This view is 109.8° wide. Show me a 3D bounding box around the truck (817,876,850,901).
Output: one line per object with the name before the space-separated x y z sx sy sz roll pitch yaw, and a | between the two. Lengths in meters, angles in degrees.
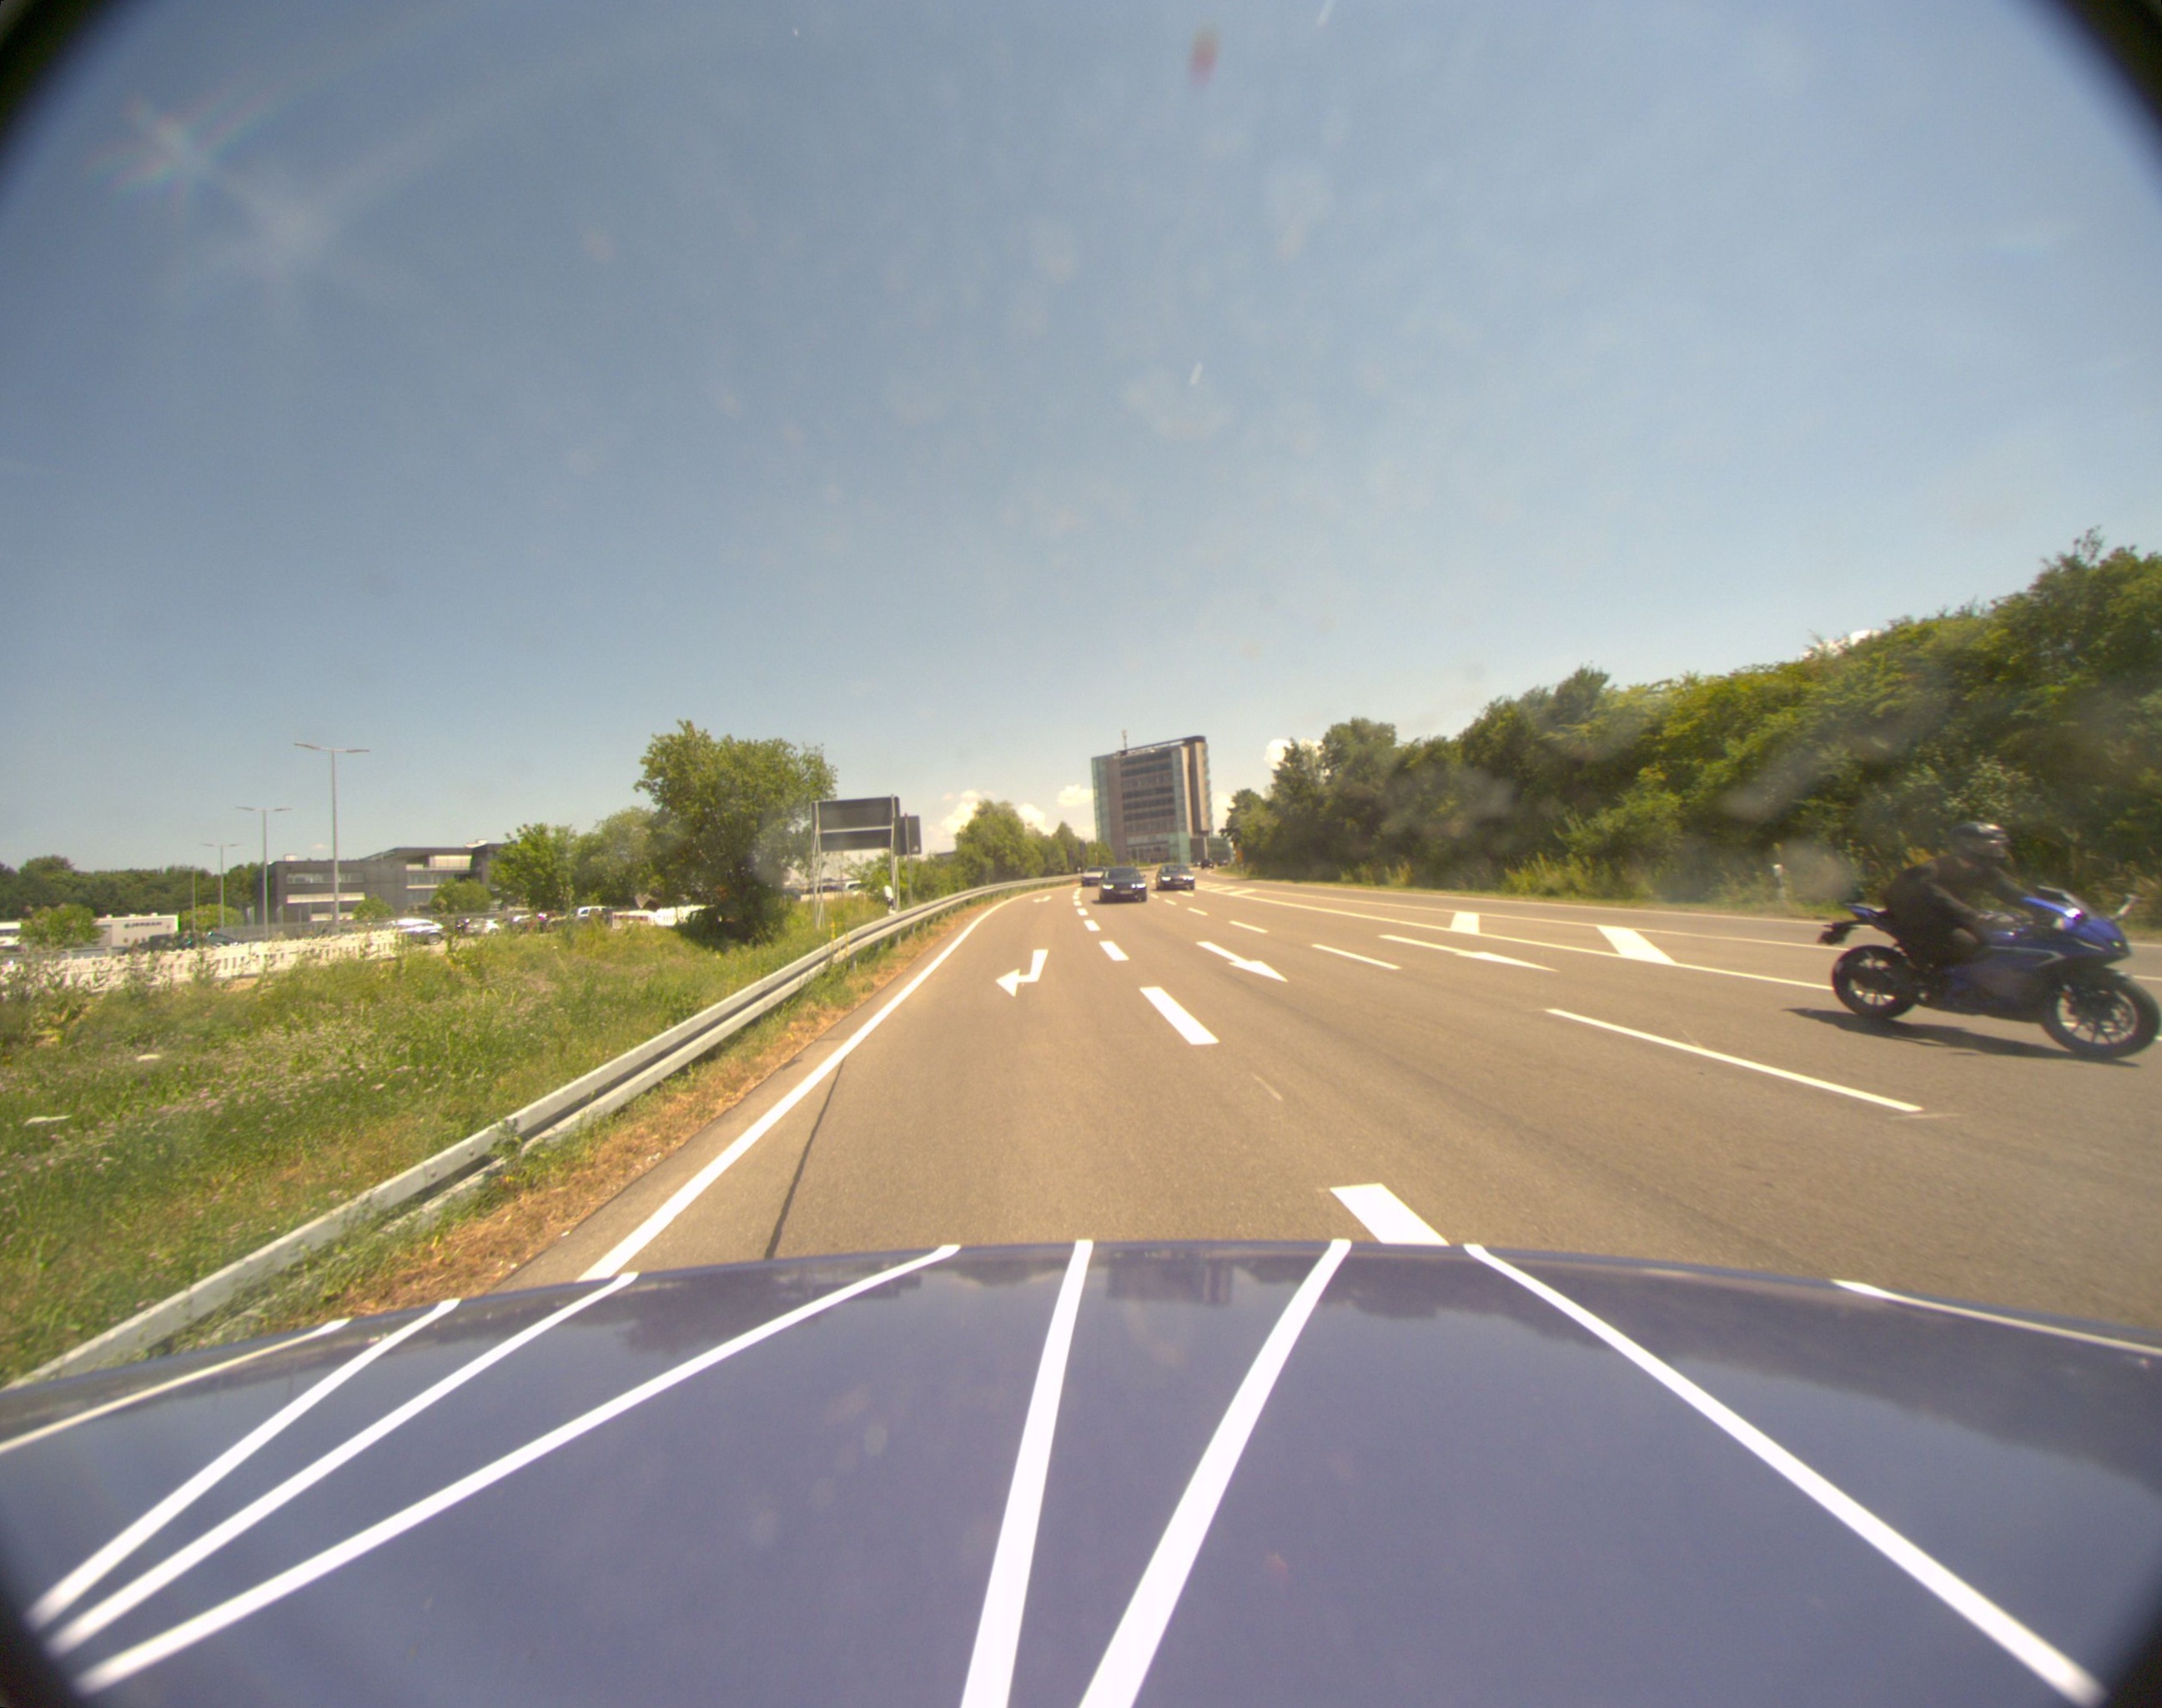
truck | -42.185 5.916 129.394 3.136 3.661 9.403 -3 -3 -32

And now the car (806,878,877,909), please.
car | -17.622 2.923 55.961 4.442 1.901 2.066 -4 -3 4

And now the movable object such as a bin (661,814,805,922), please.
movable object such as a bin | -19.244 0.935 42.905 3.433 5.227 9.234 -4 -3 1

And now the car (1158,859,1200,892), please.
car | 5.370 1.149 42.243 2.116 1.581 4.453 -3 -1 6

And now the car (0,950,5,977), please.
car | -67.997 6.826 45.002 4.549 1.675 2.097 -3 0 -45

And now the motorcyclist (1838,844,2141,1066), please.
motorcyclist | 6.767 0.691 5.749 0.861 1.479 1.161 -2 -1 -7

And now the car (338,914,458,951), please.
car | -37.577 4.280 41.877 1.995 1.499 4.622 -3 -1 39

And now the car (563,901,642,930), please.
car | -33.438 4.250 53.170 1.995 1.624 4.164 -3 0 36

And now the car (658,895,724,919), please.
car | -30.620 4.164 59.779 1.942 1.559 4.096 -3 -1 38

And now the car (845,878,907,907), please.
car | -16.574 3.119 61.498 4.304 1.956 2.002 -5 -3 6

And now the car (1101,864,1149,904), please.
car | 1.758 1.206 31.766 1.780 1.497 4.562 -2 -1 1

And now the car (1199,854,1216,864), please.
car | 20.381 0.790 122.174 1.996 1.583 4.688 -2 0 17

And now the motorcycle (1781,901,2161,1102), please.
motorcycle | 6.738 0.983 5.792 0.734 1.131 2.072 -1 -1 -7

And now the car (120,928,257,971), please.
car | -47.724 5.048 40.724 2.097 1.675 4.549 -4 0 37

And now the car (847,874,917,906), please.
car | -16.805 3.033 64.261 5.231 2.243 2.136 -4 -3 0

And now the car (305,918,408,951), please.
car | -46.198 5.092 48.553 1.942 1.627 4.529 -3 -1 41
